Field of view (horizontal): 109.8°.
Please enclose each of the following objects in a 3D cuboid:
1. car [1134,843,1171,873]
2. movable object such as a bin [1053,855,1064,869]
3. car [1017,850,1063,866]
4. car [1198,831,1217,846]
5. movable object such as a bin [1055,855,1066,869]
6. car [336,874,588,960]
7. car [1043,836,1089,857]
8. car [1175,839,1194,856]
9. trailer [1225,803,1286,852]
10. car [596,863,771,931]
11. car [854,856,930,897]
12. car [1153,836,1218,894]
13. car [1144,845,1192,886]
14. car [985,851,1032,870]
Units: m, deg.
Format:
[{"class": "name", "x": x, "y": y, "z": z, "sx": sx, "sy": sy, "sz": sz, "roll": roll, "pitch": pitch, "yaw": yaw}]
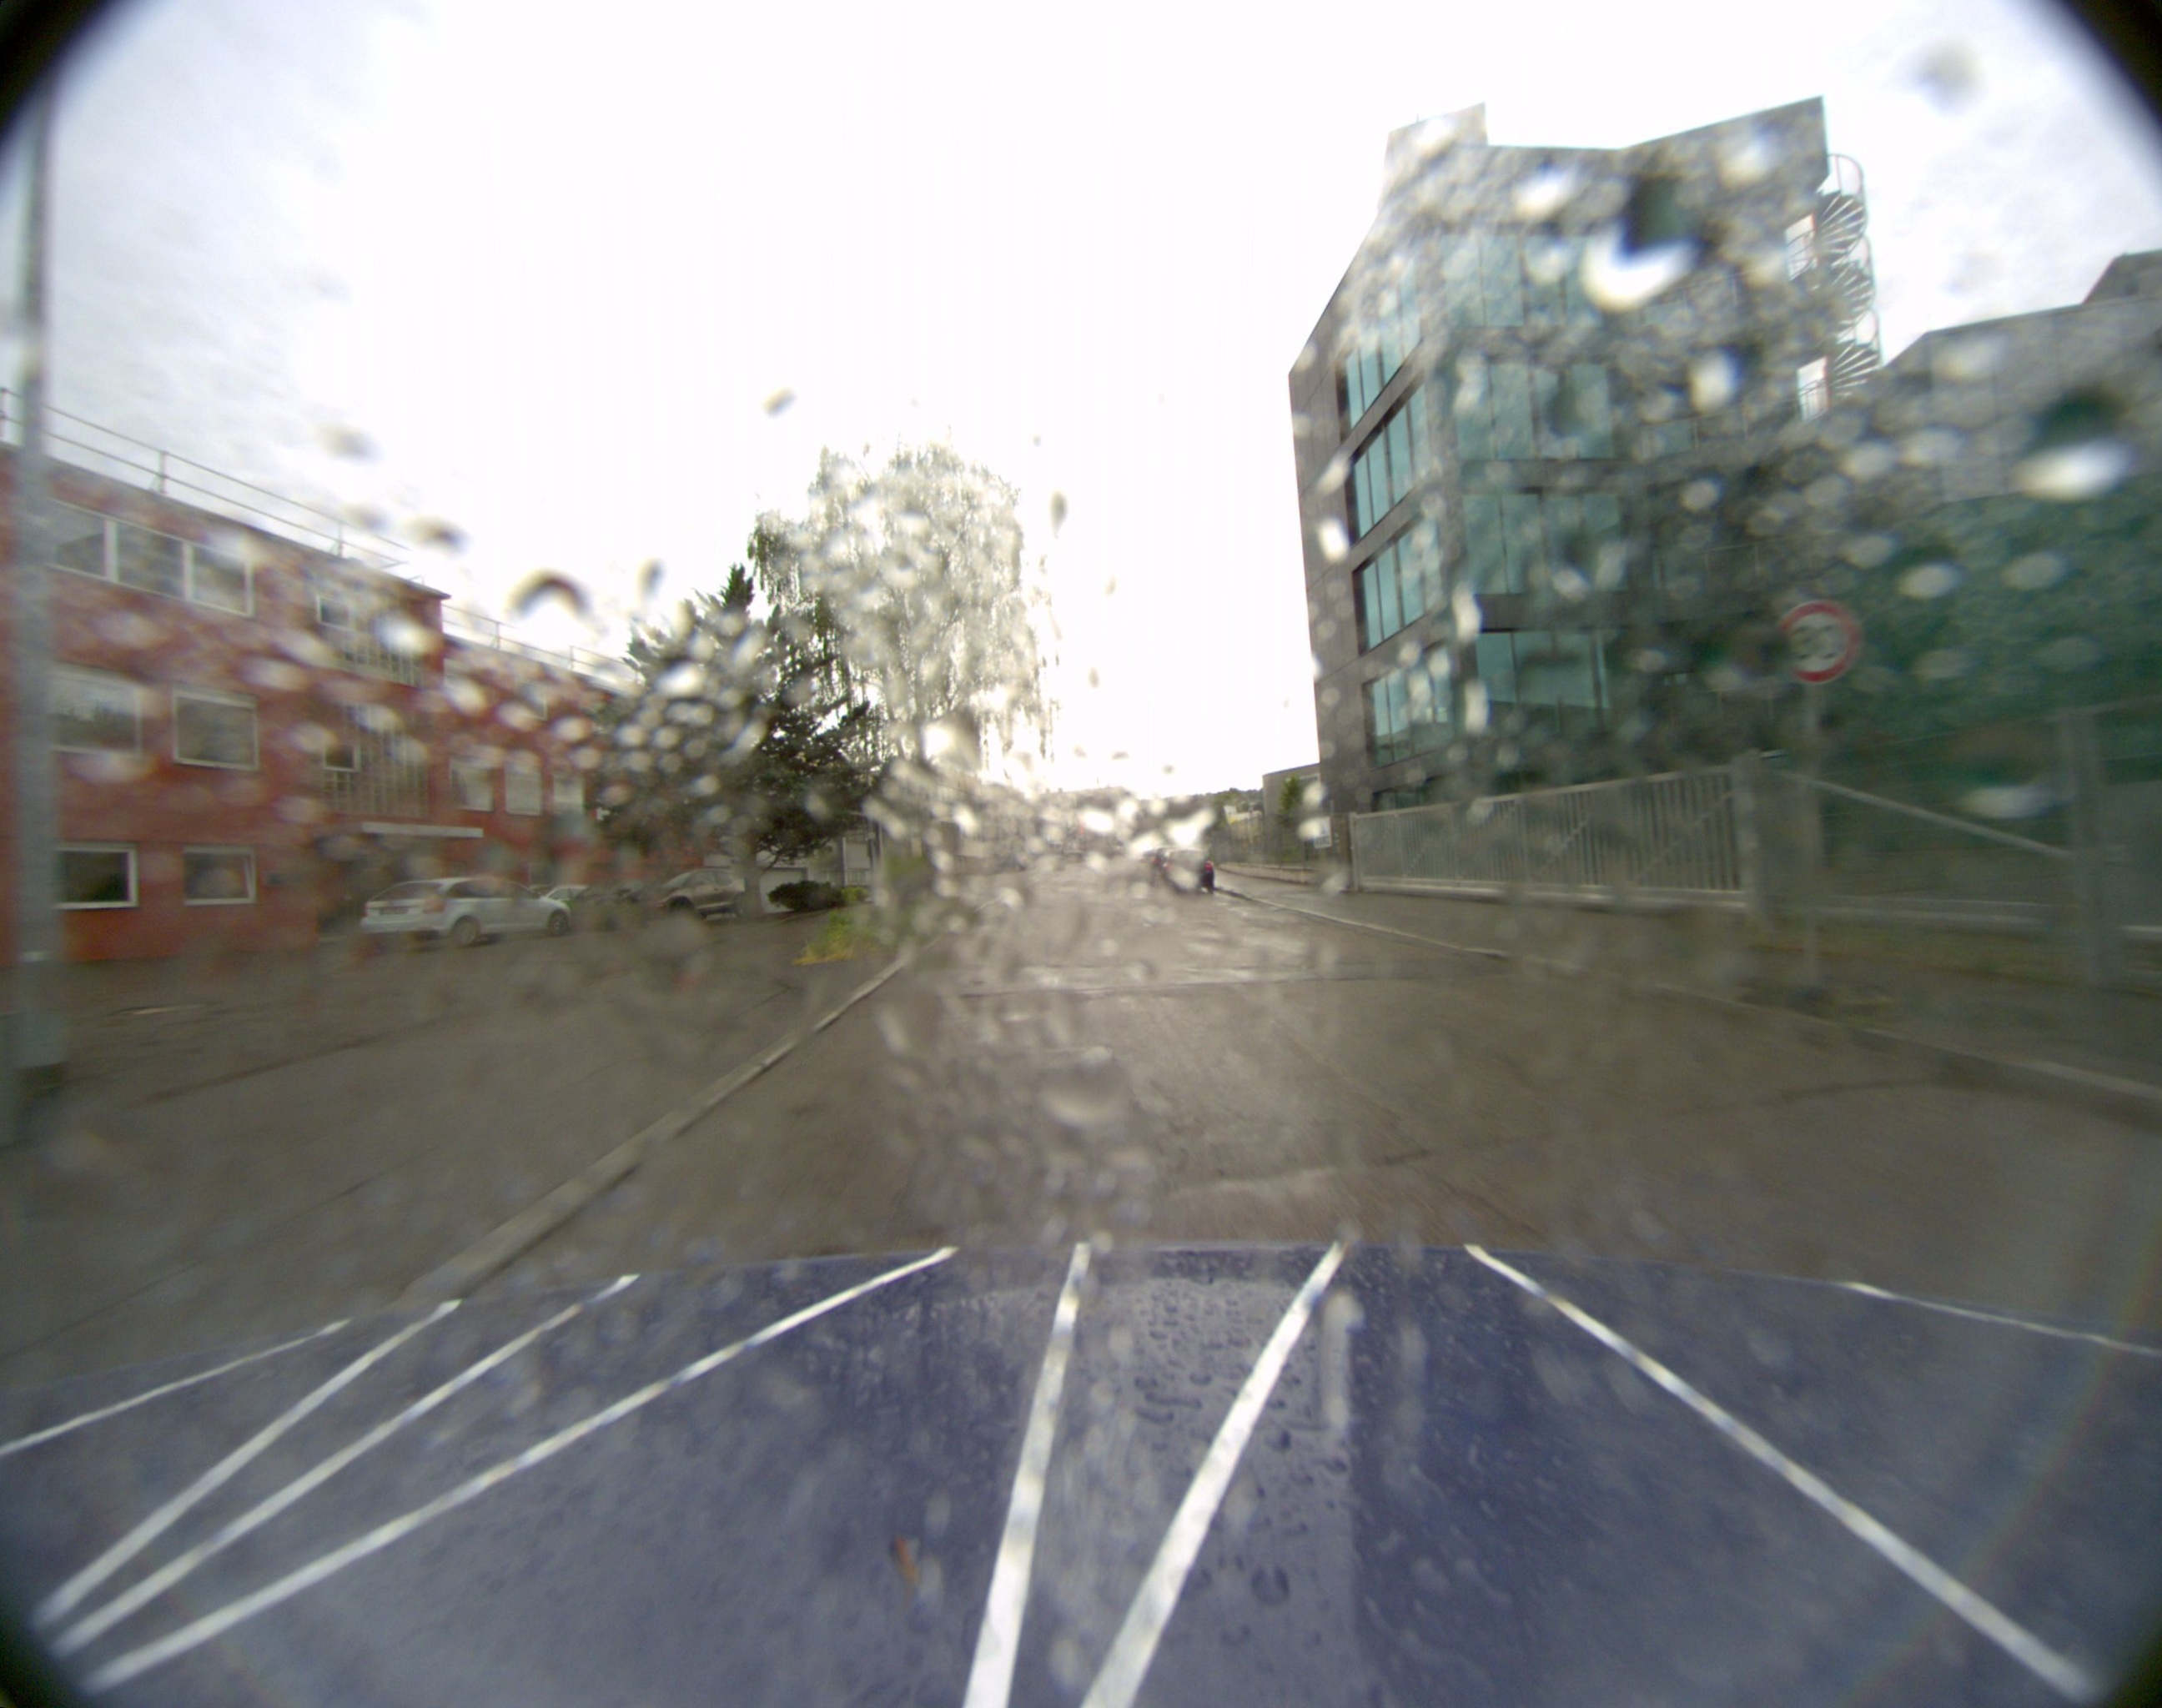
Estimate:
[{"class": "car", "x": 3.979, "y": 0.179, "z": 42.707, "sx": 1.739, "sy": 1.527, "sz": 4.250, "roll": -3, "pitch": 1, "yaw": 2}, {"class": "movable object such as a bin", "x": -1.794, "y": 0.624, "z": 59.813, "sx": 0.735, "sy": 1.084, "sz": 0.594, "roll": -3, "pitch": 1, "yaw": 7}, {"class": "car", "x": -4.529, "y": 0.408, "z": 84.106, "sx": 4.618, "sy": 1.488, "sz": 1.942, "roll": -3, "pitch": 1, "yaw": 13}, {"class": "car", "x": 18.332, "y": -2.204, "z": 110.171, "sx": 1.996, "sy": 2.002, "sz": 4.005, "roll": -3, "pitch": 1, "yaw": 18}, {"class": "movable object such as a bin", "x": -1.625, "y": 0.620, "z": 61.058, "sx": 0.735, "sy": 1.084, "sz": 0.594, "roll": -3, "pitch": 1, "yaw": 7}, {"class": "car", "x": -13.355, "y": 1.273, "z": 16.829, "sx": 1.908, "sy": 1.462, "sz": 4.329, "roll": -2, "pitch": 0, "yaw": 1}, {"class": "car", "x": -1.825, "y": -0.906, "z": 93.622, "sx": 5.147, "sy": 2.281, "sz": 2.204, "roll": -3, "pitch": 1, "yaw": 15}, {"class": "car", "x": 12.264, "y": -0.728, "z": 90.192, "sx": 1.997, "sy": 1.902, "sz": 4.002, "roll": -2, "pitch": 1, "yaw": 7}, {"class": "trailer", "x": 15.534, "y": -2.326, "z": 67.866, "sx": 2.393, "sy": 4.066, "sz": 4.687, "roll": -4, "pitch": 1, "yaw": -39}, {"class": "car", "x": -11.758, "y": 1.204, "z": 22.874, "sx": 1.999, "sy": 1.570, "sz": 4.516, "roll": -5, "pitch": 0, "yaw": 16}, {"class": "car", "x": -10.191, "y": 1.184, "z": 40.982, "sx": 3.441, "sy": 1.490, "sz": 1.620, "roll": -12, "pitch": -2, "yaw": 17}, {"class": "car", "x": 3.565, "y": 0.324, "z": 26.530, "sx": 1.743, "sy": 1.787, "sz": 3.958, "roll": -3, "pitch": 1, "yaw": 2}, {"class": "car", "x": 3.556, "y": 0.433, "z": 31.577, "sx": 1.636, "sy": 1.549, "sz": 4.084, "roll": -2, "pitch": 1, "yaw": 2}, {"class": "car", "x": -6.453, "y": 0.578, "z": 67.661, "sx": 3.745, "sy": 1.531, "sz": 1.632, "roll": -2, "pitch": 1, "yaw": 11}]
